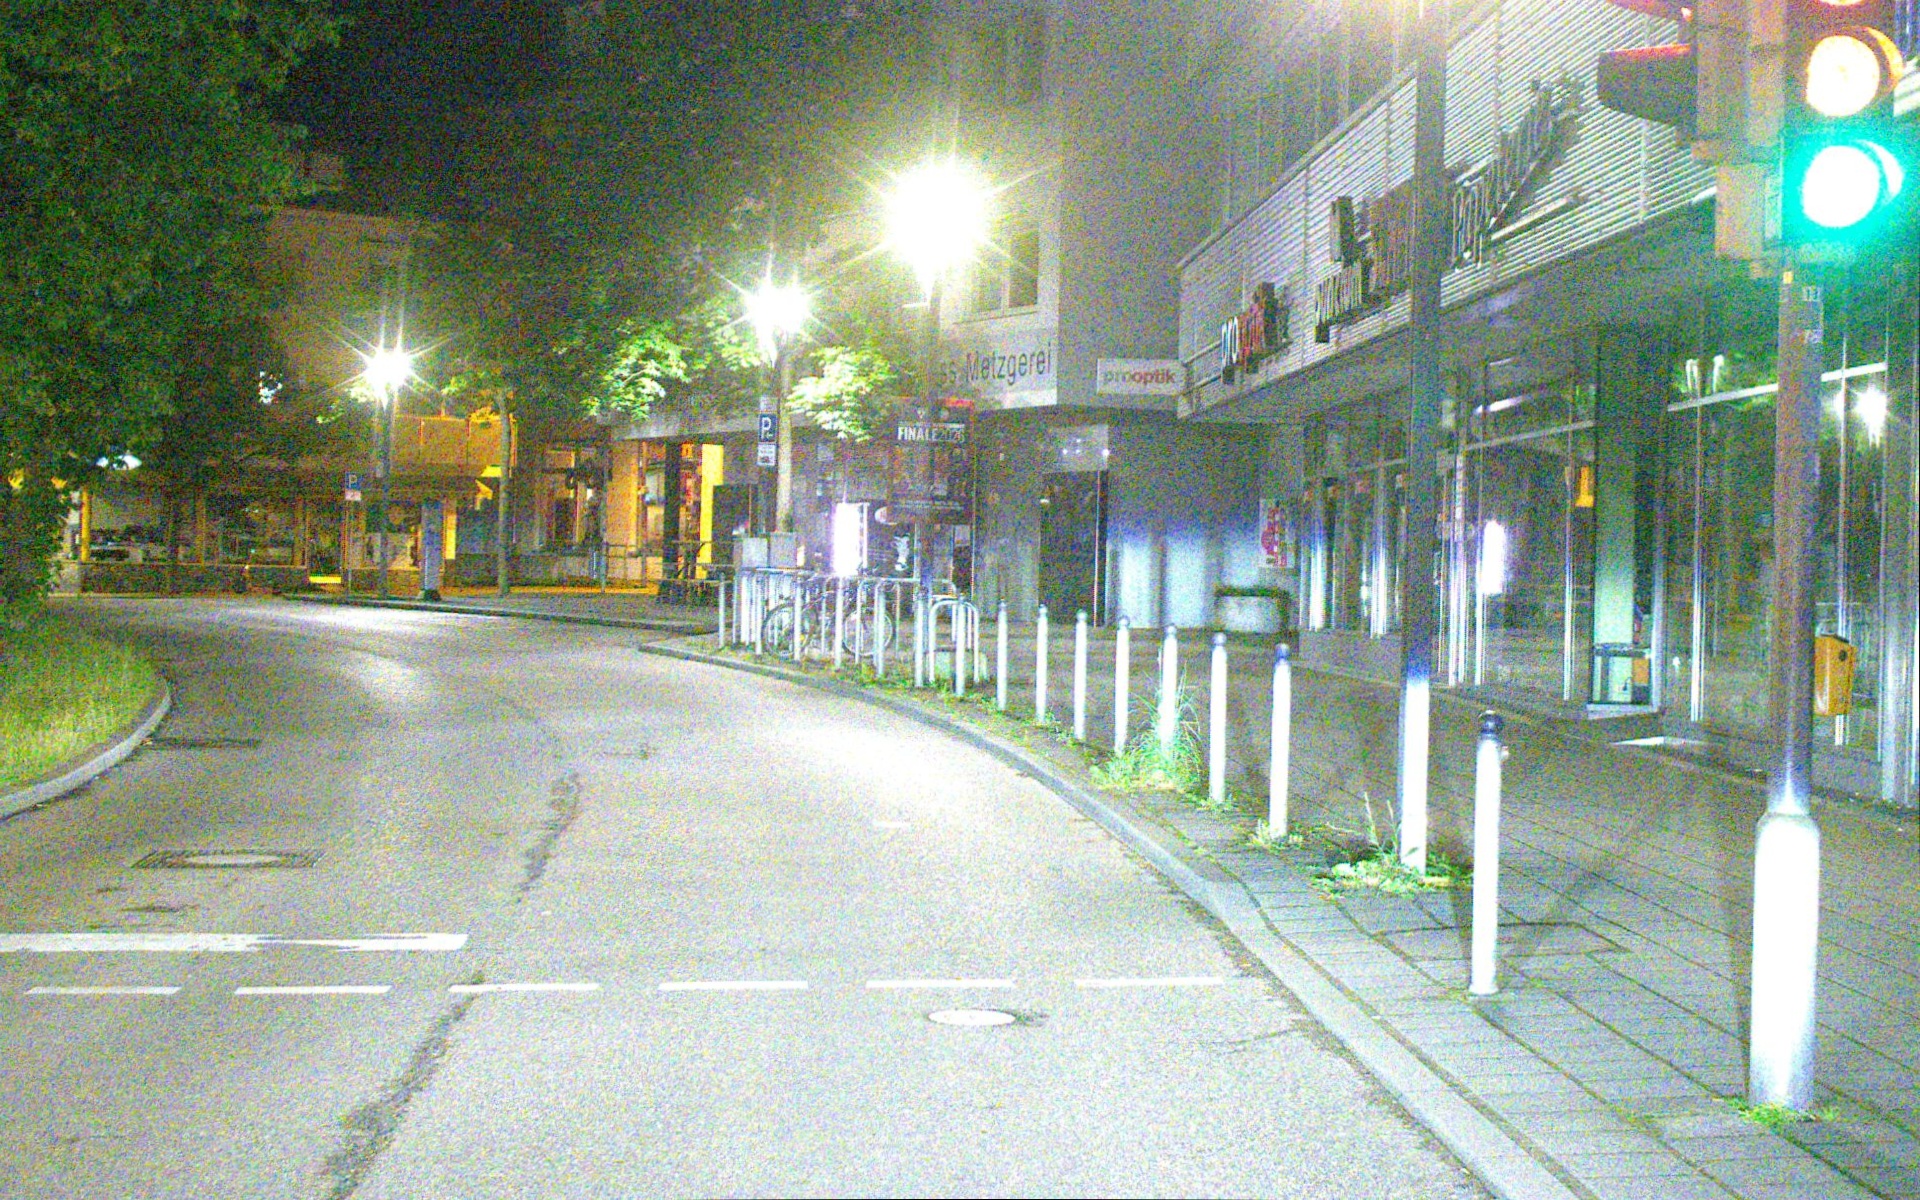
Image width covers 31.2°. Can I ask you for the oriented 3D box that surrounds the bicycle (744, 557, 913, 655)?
[{"bbox_3d":[-1.473,0.066,38.471,1.749,1.059,0.656,1,2,-26],"label":"bicycle"}]

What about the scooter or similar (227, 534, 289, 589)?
[{"bbox_3d":[-16.500,-0.912,80.819,1.246,1.223,0.598,2,1,-29],"label":"scooter or similar"}]
